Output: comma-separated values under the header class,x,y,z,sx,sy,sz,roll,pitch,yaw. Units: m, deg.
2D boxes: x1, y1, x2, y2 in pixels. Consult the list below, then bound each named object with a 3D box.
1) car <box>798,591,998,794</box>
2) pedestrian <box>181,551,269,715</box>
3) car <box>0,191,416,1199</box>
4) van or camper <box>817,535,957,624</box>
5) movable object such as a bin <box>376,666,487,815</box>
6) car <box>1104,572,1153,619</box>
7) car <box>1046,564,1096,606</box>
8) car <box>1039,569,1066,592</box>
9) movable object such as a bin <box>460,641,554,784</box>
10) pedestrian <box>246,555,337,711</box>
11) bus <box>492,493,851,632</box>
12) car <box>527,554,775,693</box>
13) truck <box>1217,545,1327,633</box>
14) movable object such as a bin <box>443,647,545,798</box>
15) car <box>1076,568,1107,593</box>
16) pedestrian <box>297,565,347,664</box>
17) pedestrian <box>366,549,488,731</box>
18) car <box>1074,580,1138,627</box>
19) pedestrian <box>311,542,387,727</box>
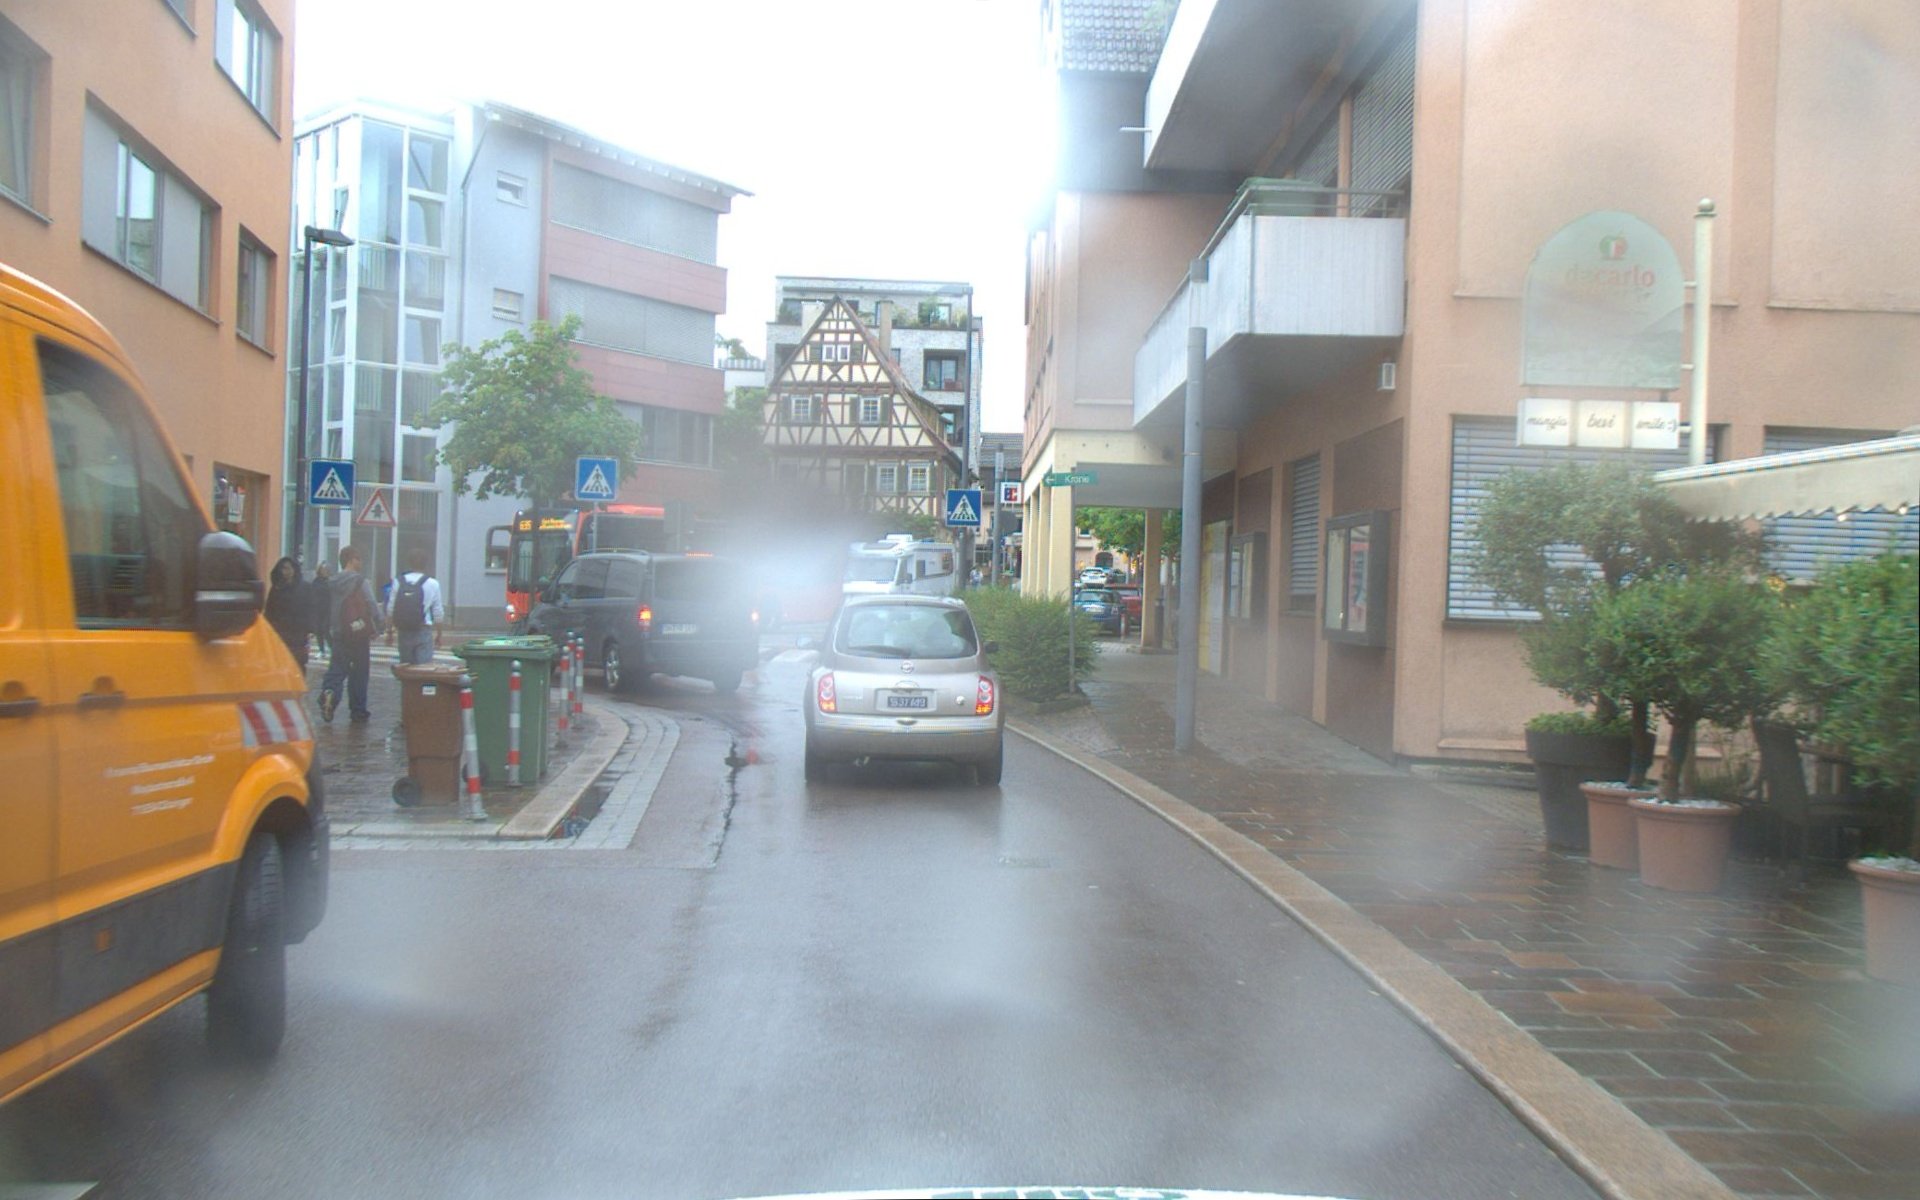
class,x,y,z,sx,sy,sz,roll,pitch,yaw
car,-0.632,0.708,14.403,1.493,1.496,3.337,1,1,-6
pedestrian,-8.093,0.351,18.230,0.611,1.742,0.807,3,0,-9
car,-2.957,0.282,3.272,1.953,2.279,5.859,1,0,-2
van or camper,-2.241,-0.639,53.473,2.386,2.630,6.755,2,1,17
movable object such as a bin,-3.574,0.940,11.207,0.570,0.943,0.481,2,0,-1
car,5.808,-0.160,56.953,1.589,1.527,4.003,-1,1,6
car,4.423,-0.607,66.354,1.857,1.601,4.001,1,0,2
car,6.581,-1.381,118.149,1.857,1.534,3.911,1,0,2
movable object such as a bin,-3.504,0.858,12.823,0.644,1.055,0.608,1,1,-11
pedestrian,-7.432,0.359,18.411,0.702,1.668,0.744,3,0,-9
bus,-7.109,-0.911,43.001,2.763,3.142,10.580,3,2,32
car,-4.598,0.272,24.037,1.928,1.812,4.673,1,1,-33
truck,6.932,-0.249,37.071,1.726,1.839,4.000,1,0,1
movable object such as a bin,-3.405,0.887,12.122,0.644,1.055,0.608,1,0,-11
car,8.587,-1.262,108.037,1.857,1.534,3.911,1,0,2
pedestrian,-10.725,0.240,27.833,0.648,1.638,0.682,1,0,-12
pedestrian,-5.581,0.398,17.359,0.650,1.838,1.060,1,0,24
car,4.616,0.095,52.008,1.504,1.385,3.376,2,1,13
pedestrian,-6.289,0.337,17.005,0.682,1.832,1.051,1,0,-22
